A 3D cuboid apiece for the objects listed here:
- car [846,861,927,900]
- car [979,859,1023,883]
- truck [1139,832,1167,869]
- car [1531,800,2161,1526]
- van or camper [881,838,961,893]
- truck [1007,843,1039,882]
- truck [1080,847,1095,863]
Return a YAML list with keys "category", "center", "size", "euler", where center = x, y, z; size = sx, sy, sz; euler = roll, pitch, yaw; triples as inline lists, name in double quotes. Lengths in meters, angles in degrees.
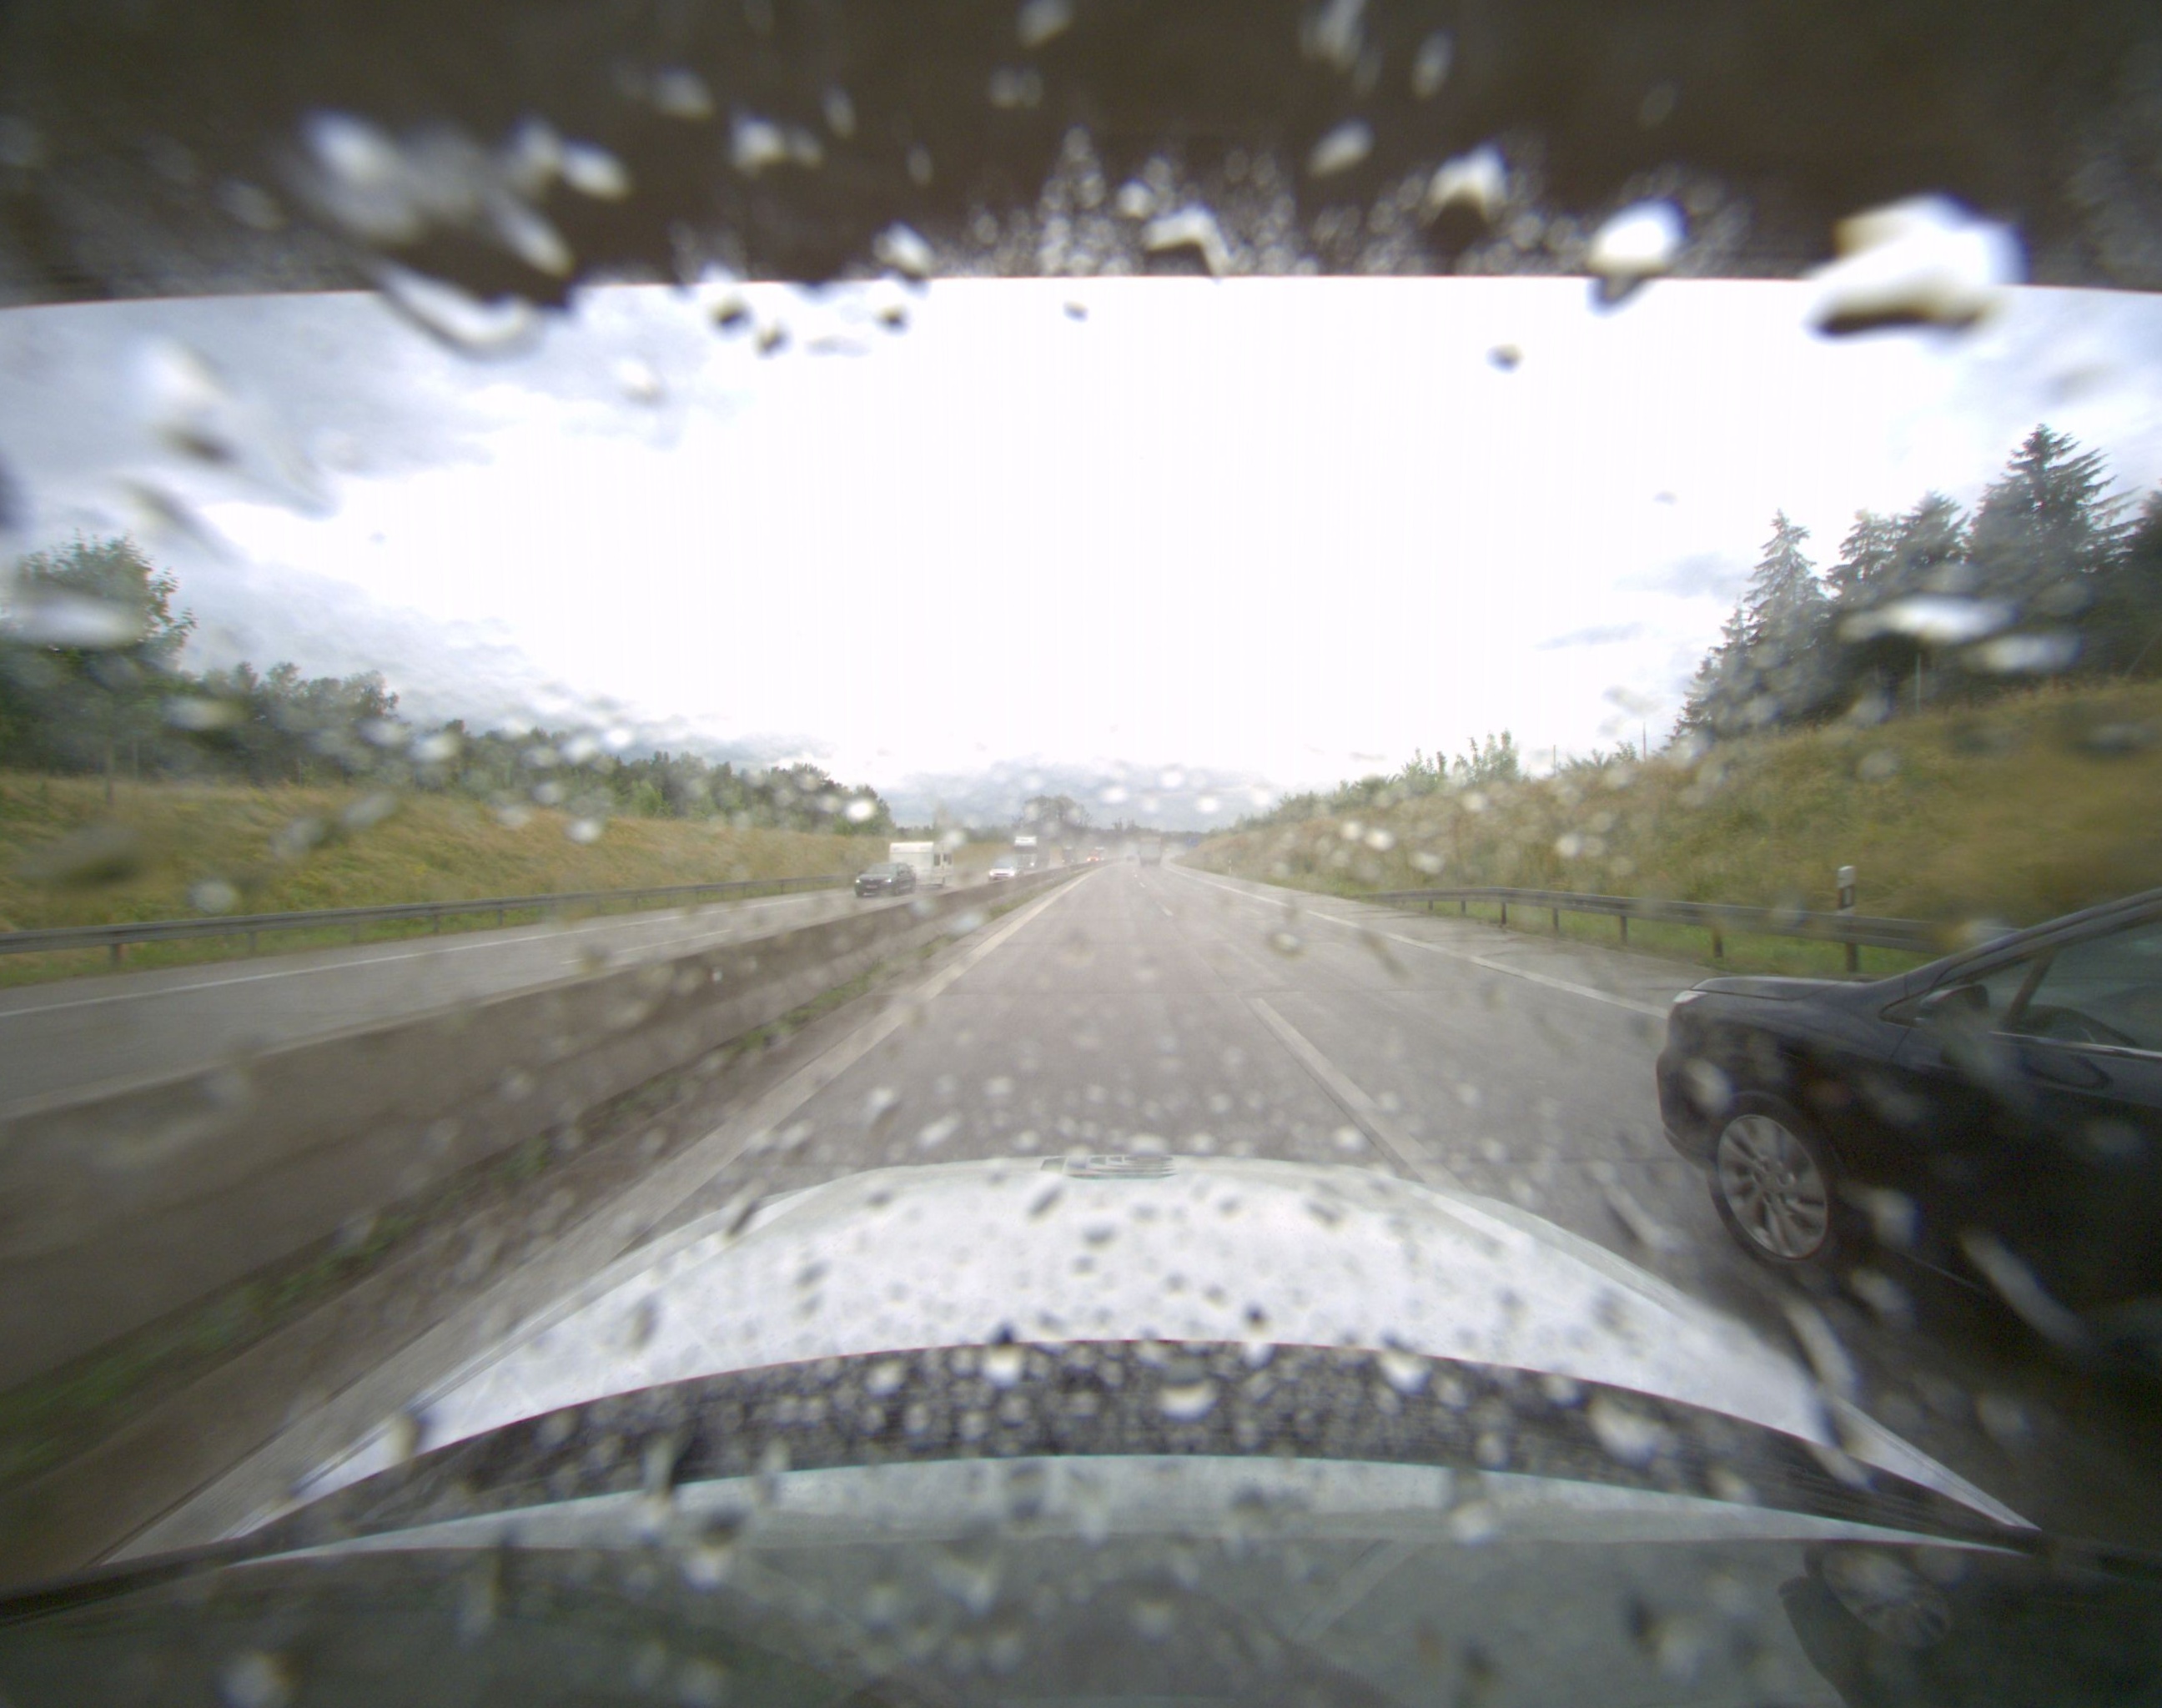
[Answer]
- category: "car"
  center: [-8.818, 1.143, 37.452]
  size: [2.277, 1.557, 5.185]
  euler: [1, 0, 2]
- category: "car"
  center: [-4.779, 0.988, 49.376]
  size: [1.985, 1.311, 4.514]
  euler: [-1, 0, 2]
- category: "truck"
  center: [9.049, -0.452, 102.034]
  size: [3.227, 4.436, 8.259]
  euler: [-1, 1, 6]
- category: "car"
  center: [3.298, 0.661, 2.488]
  size: [1.887, 1.576, 3.632]
  euler: [0, 0, 1]
- category: "van or camper"
  center: [-8.467, 0.497, 44.026]
  size: [2.434, 2.595, 7.933]
  euler: [1, 2, 2]
- category: "truck"
  center: [-6.825, 0.974, 96.473]
  size: [2.809, 4.520, 6.631]
  euler: [0, 0, 3]
- category: "truck"
  center: [1.231, 0.172, 152.616]
  size: [2.322, 2.782, 6.167]
  euler: [-1, 0, 4]
